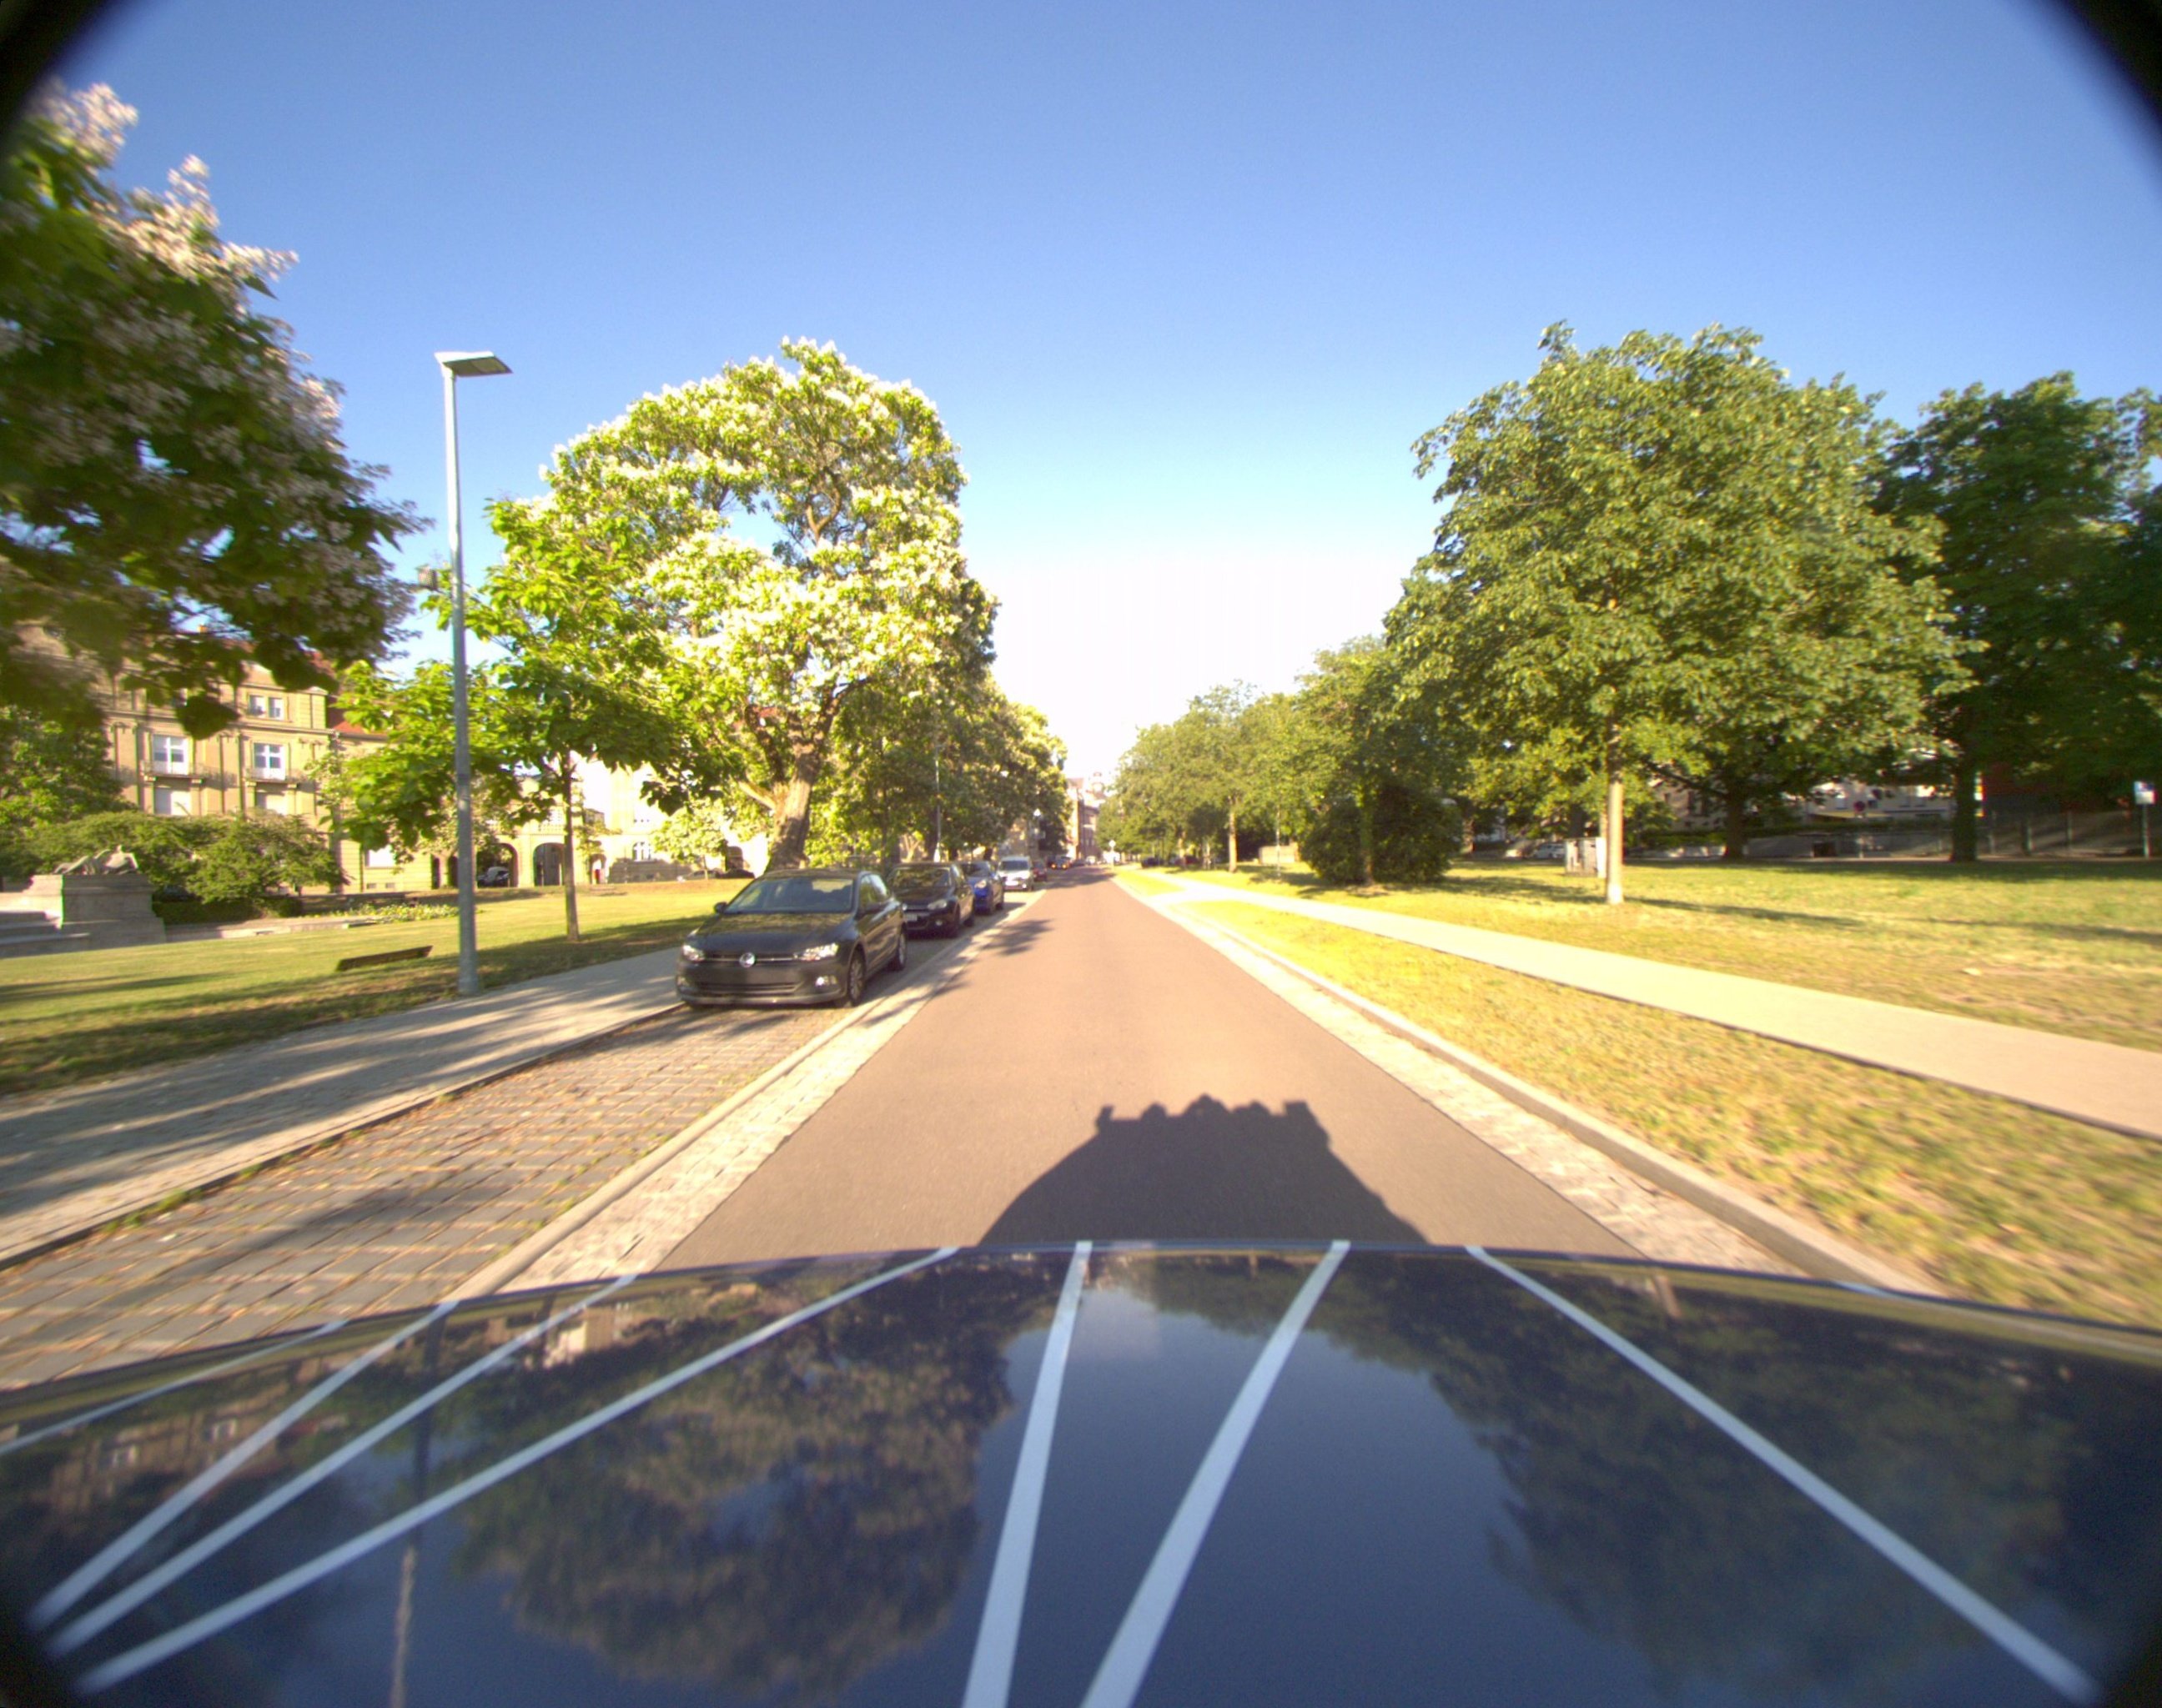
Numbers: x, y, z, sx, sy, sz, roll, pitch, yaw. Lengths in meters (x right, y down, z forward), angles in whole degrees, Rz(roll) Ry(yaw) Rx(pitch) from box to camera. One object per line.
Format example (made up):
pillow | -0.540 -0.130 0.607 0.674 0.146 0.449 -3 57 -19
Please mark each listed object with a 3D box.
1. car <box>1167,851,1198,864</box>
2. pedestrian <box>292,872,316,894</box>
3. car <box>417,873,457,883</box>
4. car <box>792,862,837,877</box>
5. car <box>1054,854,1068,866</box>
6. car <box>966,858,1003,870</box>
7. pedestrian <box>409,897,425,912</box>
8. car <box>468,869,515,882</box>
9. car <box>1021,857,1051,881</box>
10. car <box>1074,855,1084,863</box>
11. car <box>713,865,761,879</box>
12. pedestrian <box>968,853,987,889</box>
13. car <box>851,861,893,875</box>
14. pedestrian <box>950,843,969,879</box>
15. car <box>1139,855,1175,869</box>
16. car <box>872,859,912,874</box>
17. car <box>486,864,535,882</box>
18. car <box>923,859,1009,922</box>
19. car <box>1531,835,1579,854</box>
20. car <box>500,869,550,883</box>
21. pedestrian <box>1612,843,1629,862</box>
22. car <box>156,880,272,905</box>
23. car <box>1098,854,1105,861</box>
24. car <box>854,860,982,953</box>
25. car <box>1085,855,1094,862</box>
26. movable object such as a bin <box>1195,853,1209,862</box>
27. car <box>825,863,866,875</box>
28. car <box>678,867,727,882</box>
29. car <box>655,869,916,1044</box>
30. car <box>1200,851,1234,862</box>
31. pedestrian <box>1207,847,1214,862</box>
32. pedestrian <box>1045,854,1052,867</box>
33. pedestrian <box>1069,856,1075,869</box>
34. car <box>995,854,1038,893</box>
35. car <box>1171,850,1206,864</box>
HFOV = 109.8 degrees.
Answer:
car | 13.702 0.470 102.566 3.851 1.622 1.836 -2 1 -24
pedestrian | -55.923 2.077 54.678 0.682 1.466 0.950 -1 1 3
car | -98.839 3.641 116.694 1.814 1.409 4.380 -1 1 40
car | -28.944 1.695 82.543 4.443 1.409 1.563 -2 1 -23
car | -2.755 0.804 104.580 1.707 1.616 4.349 1 -1 0
car | -11.751 1.209 92.853 4.452 1.410 1.935 -1 1 -5
pedestrian | -42.694 3.241 48.858 0.576 0.876 0.678 -2 1 38
car | -75.360 2.761 97.147 1.814 1.409 4.380 -1 1 35
car | -2.998 0.963 51.386 1.682 1.477 4.809 -1 0 0
car | -0.315 0.981 150.215 1.610 1.349 3.549 -1 1 6
car | -38.325 2.018 84.778 4.657 1.409 1.815 -2 1 -31
pedestrian | -5.067 0.807 37.125 0.755 1.726 0.731 -2 0 1
car | -23.289 1.552 84.751 4.371 1.409 1.842 -1 1 -20
pedestrian | -5.982 0.350 37.451 0.727 1.726 0.731 -2 0 1
car | 9.429 0.991 94.478 4.004 1.565 1.887 -2 2 -24
car | -22.668 1.504 91.058 4.457 1.590 1.800 -1 1 -18
car | -70.256 2.329 93.627 1.814 2.096 4.380 -1 1 38
car | -3.195 0.975 21.950 1.736 1.542 4.275 -1 1 1
car | 42.585 -0.830 68.396 1.998 1.608 3.738 -2 0 0
car | -65.496 2.595 89.545 1.814 1.409 4.380 -1 1 35
pedestrian | 28.298 -0.073 39.863 0.549 0.981 0.610 -1 1 11
car | -60.073 2.610 52.789 1.815 1.409 4.957 -1 1 25
car | 5.065 0.893 187.485 1.582 1.499 3.848 -1 1 7
car | -3.173 0.957 15.697 1.736 1.542 4.421 -1 0 -1
car | 1.836 0.991 165.987 1.509 1.437 3.731 -1 1 6
movable object such as a bin | 13.765 0.452 86.472 1.332 0.984 0.949 -1 1 1
car | -27.691 1.747 89.493 4.458 1.316 1.502 -1 1 -22
car | -38.650 2.080 77.635 4.378 1.409 1.815 -2 1 -30
car | -3.167 0.979 9.113 1.631 1.455 4.247 -1 0 -3
car | 18.757 0.392 104.575 4.281 1.392 1.836 -1 1 -22
pedestrian | 14.751 0.060 86.536 0.663 1.686 0.672 -2 0 1
pedestrian | -4.513 0.902 105.607 0.733 1.819 0.555 -3 0 -36
pedestrian | -1.275 1.188 105.161 0.778 1.759 0.955 -2 0 1
car | -3.101 0.902 37.369 1.682 1.730 4.513 -1 1 0
car | 13.608 0.367 96.181 4.004 1.565 1.887 -2 2 -24
